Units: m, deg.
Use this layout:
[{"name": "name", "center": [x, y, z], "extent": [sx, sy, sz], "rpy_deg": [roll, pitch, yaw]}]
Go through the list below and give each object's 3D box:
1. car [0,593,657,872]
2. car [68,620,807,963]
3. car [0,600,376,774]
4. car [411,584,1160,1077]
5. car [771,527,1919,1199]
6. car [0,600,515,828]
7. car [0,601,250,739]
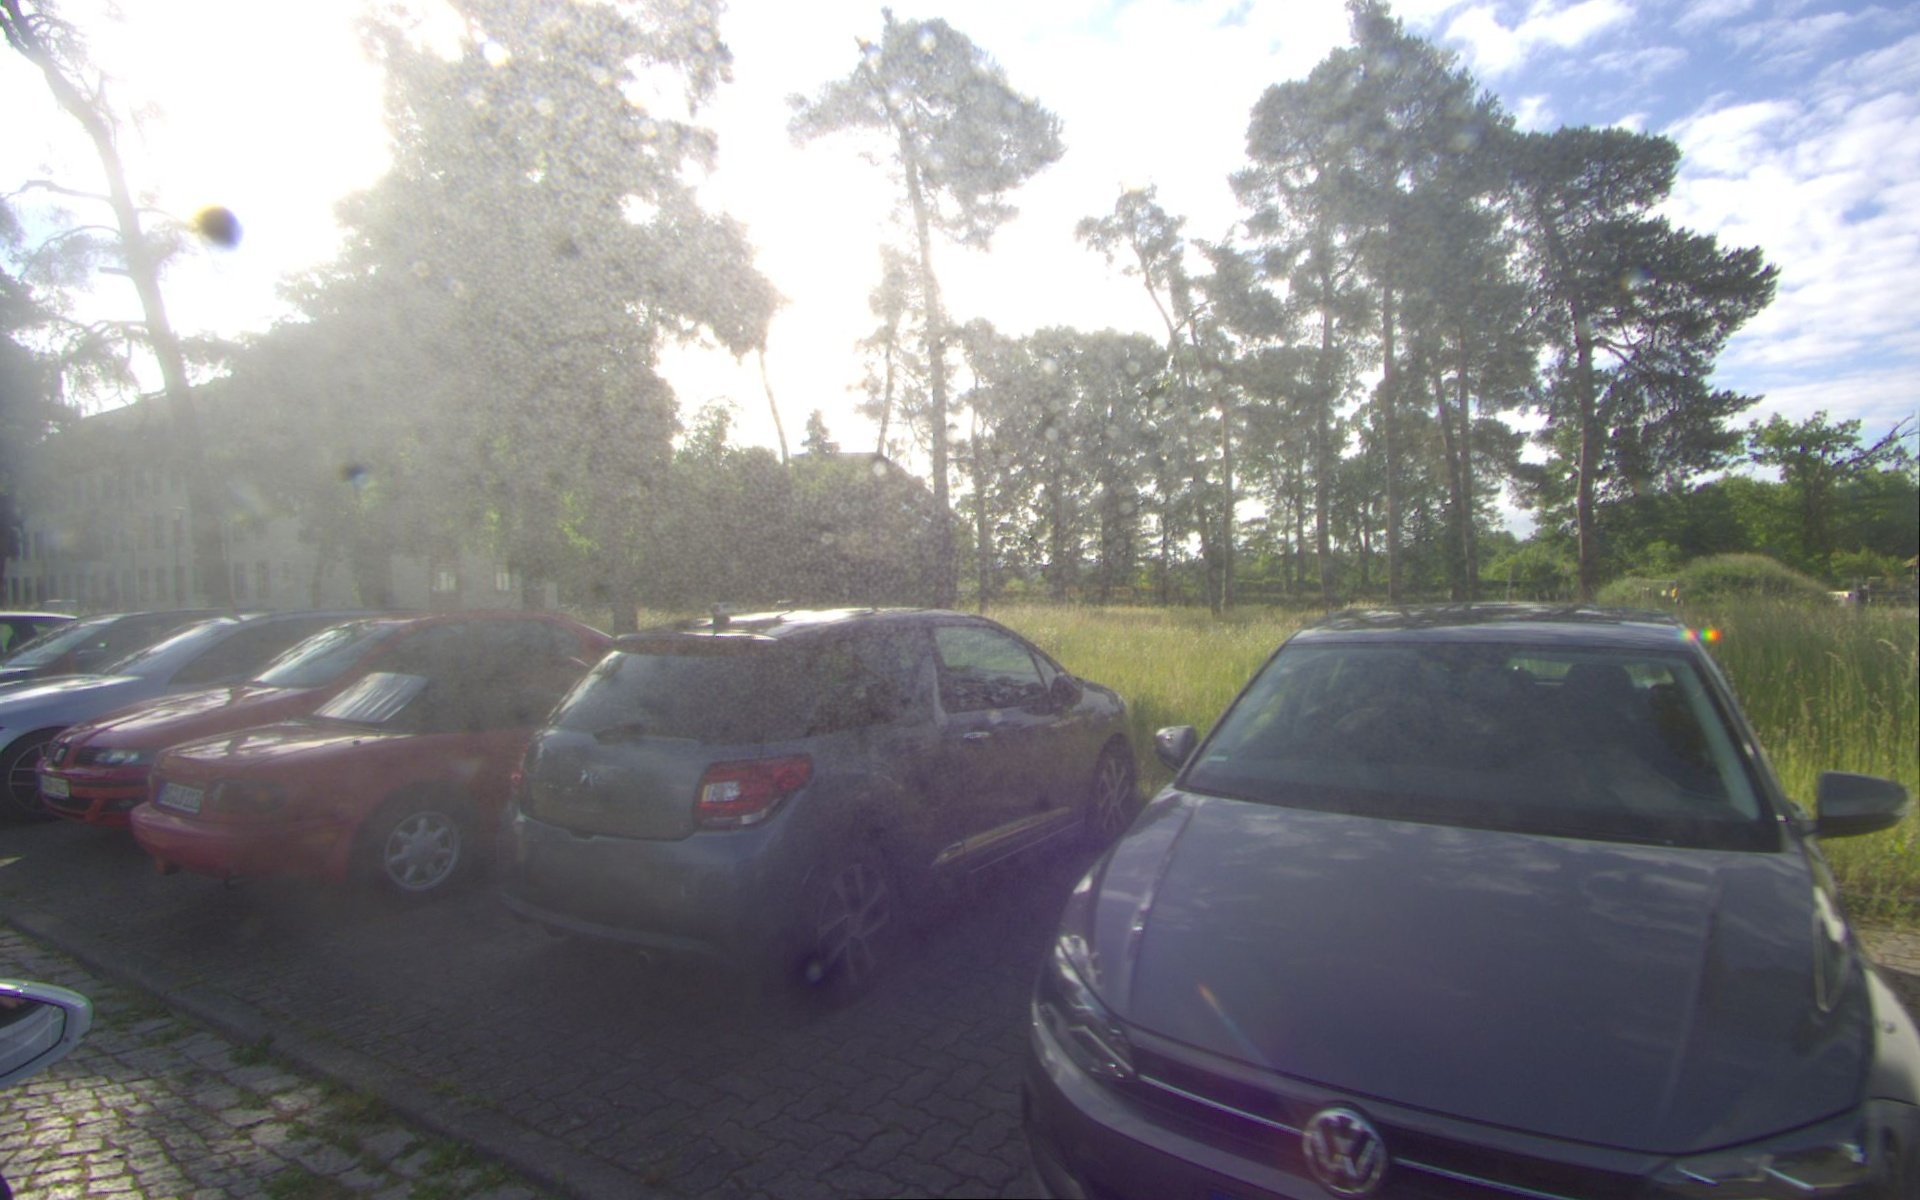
[{"name": "car", "center": [-4.558, 0.741, 7.843], "extent": [1.613, 1.469, 4.116], "rpy_deg": [0, 2, 33]}, {"name": "car", "center": [-2.840, 0.848, 6.231], "extent": [1.721, 1.240, 3.697], "rpy_deg": [0, 2, 33]}, {"name": "car", "center": [-8.731, 0.803, 10.191], "extent": [1.613, 1.435, 4.547], "rpy_deg": [0, 2, 32]}, {"name": "car", "center": [-0.481, 0.698, 5.166], "extent": [1.790, 1.469, 3.698], "rpy_deg": [0, 2, 32]}, {"name": "car", "center": [1.427, 0.598, 2.886], "extent": [1.830, 1.469, 3.697], "rpy_deg": [0, 2, 33]}, {"name": "car", "center": [-6.456, 0.793, 8.780], "extent": [1.755, 1.435, 4.420], "rpy_deg": [0, 2, 33]}, {"name": "car", "center": [-10.957, 0.793, 11.799], "extent": [1.613, 1.435, 3.872], "rpy_deg": [0, 2, 33]}]
